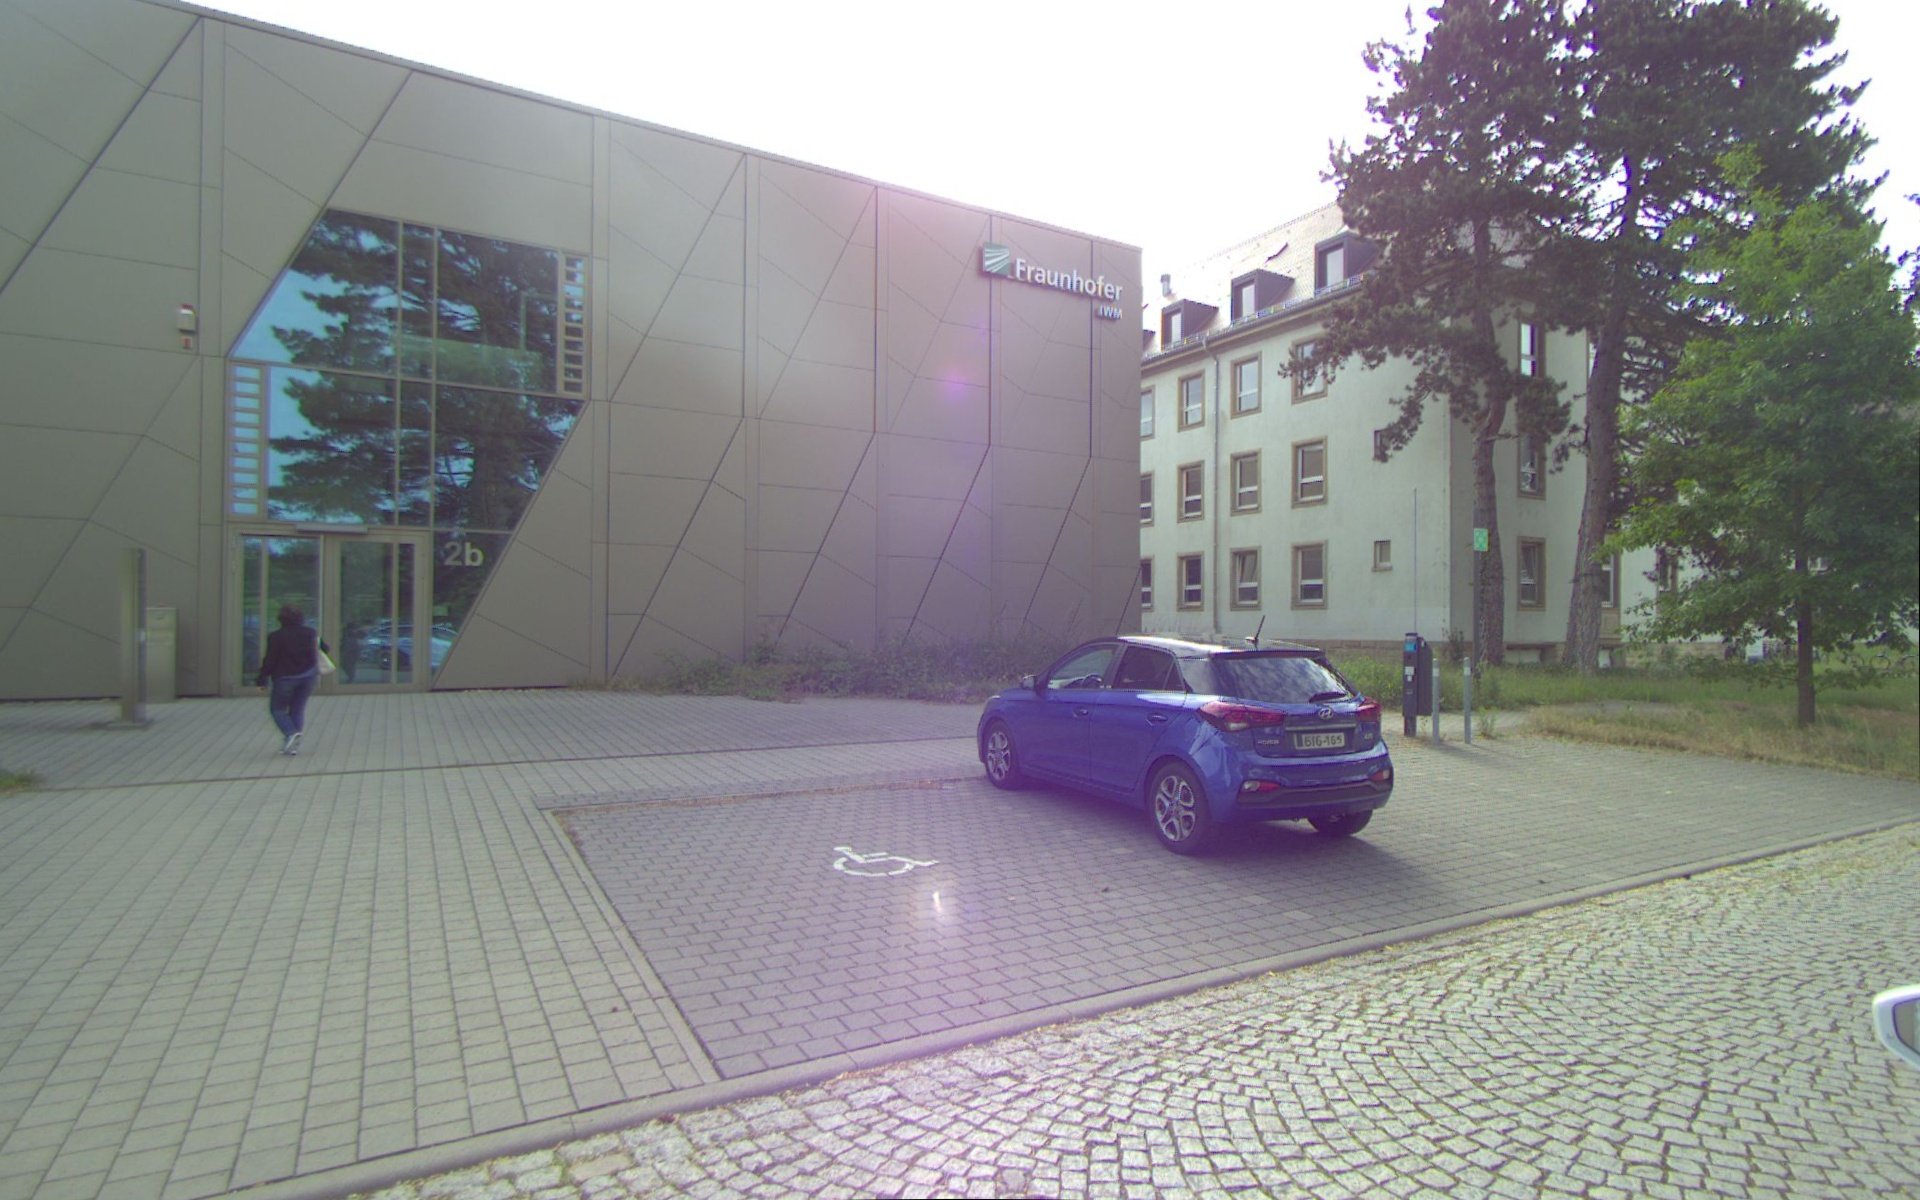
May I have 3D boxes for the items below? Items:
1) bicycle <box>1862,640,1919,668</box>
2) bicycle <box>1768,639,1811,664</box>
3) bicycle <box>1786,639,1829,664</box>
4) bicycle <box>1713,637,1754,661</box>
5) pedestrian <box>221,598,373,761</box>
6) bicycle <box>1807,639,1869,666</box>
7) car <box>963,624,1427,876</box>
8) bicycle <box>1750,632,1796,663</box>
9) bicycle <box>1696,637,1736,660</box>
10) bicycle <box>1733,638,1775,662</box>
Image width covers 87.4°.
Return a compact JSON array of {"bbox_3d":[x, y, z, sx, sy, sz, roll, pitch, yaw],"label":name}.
[{"bbox_3d":[38.421,2.194,41.275,0.821,1.090,1.849,1,-2,-27],"label":"bicycle"},{"bbox_3d":[37.450,2.301,45.348,2.246,1.090,0.732,1,-2,-30],"label":"bicycle"},{"bbox_3d":[37.828,2.284,44.828,2.246,1.090,0.732,1,-2,-30],"label":"bicycle"},{"bbox_3d":[36.371,2.299,47.247,2.246,1.090,0.732,1,-2,-30],"label":"bicycle"},{"bbox_3d":[-6.617,0.763,10.047,0.967,1.514,0.818,2,0,20],"label":"pedestrian"},{"bbox_3d":[37.479,2.220,42.903,0.729,1.090,1.849,1,-2,-27],"label":"bicycle"},{"bbox_3d":[1.684,1.000,8.445,1.828,1.497,3.752,1,0,-27],"label":"car"},{"bbox_3d":[37.395,2.172,46.178,2.679,1.404,0.732,1,-2,-30],"label":"bicycle"},{"bbox_3d":[36.079,2.311,47.923,2.246,1.090,0.732,1,-2,-30],"label":"bicycle"},{"bbox_3d":[37.102,2.323,46.930,2.246,1.090,0.732,1,-2,-30],"label":"bicycle"}]
